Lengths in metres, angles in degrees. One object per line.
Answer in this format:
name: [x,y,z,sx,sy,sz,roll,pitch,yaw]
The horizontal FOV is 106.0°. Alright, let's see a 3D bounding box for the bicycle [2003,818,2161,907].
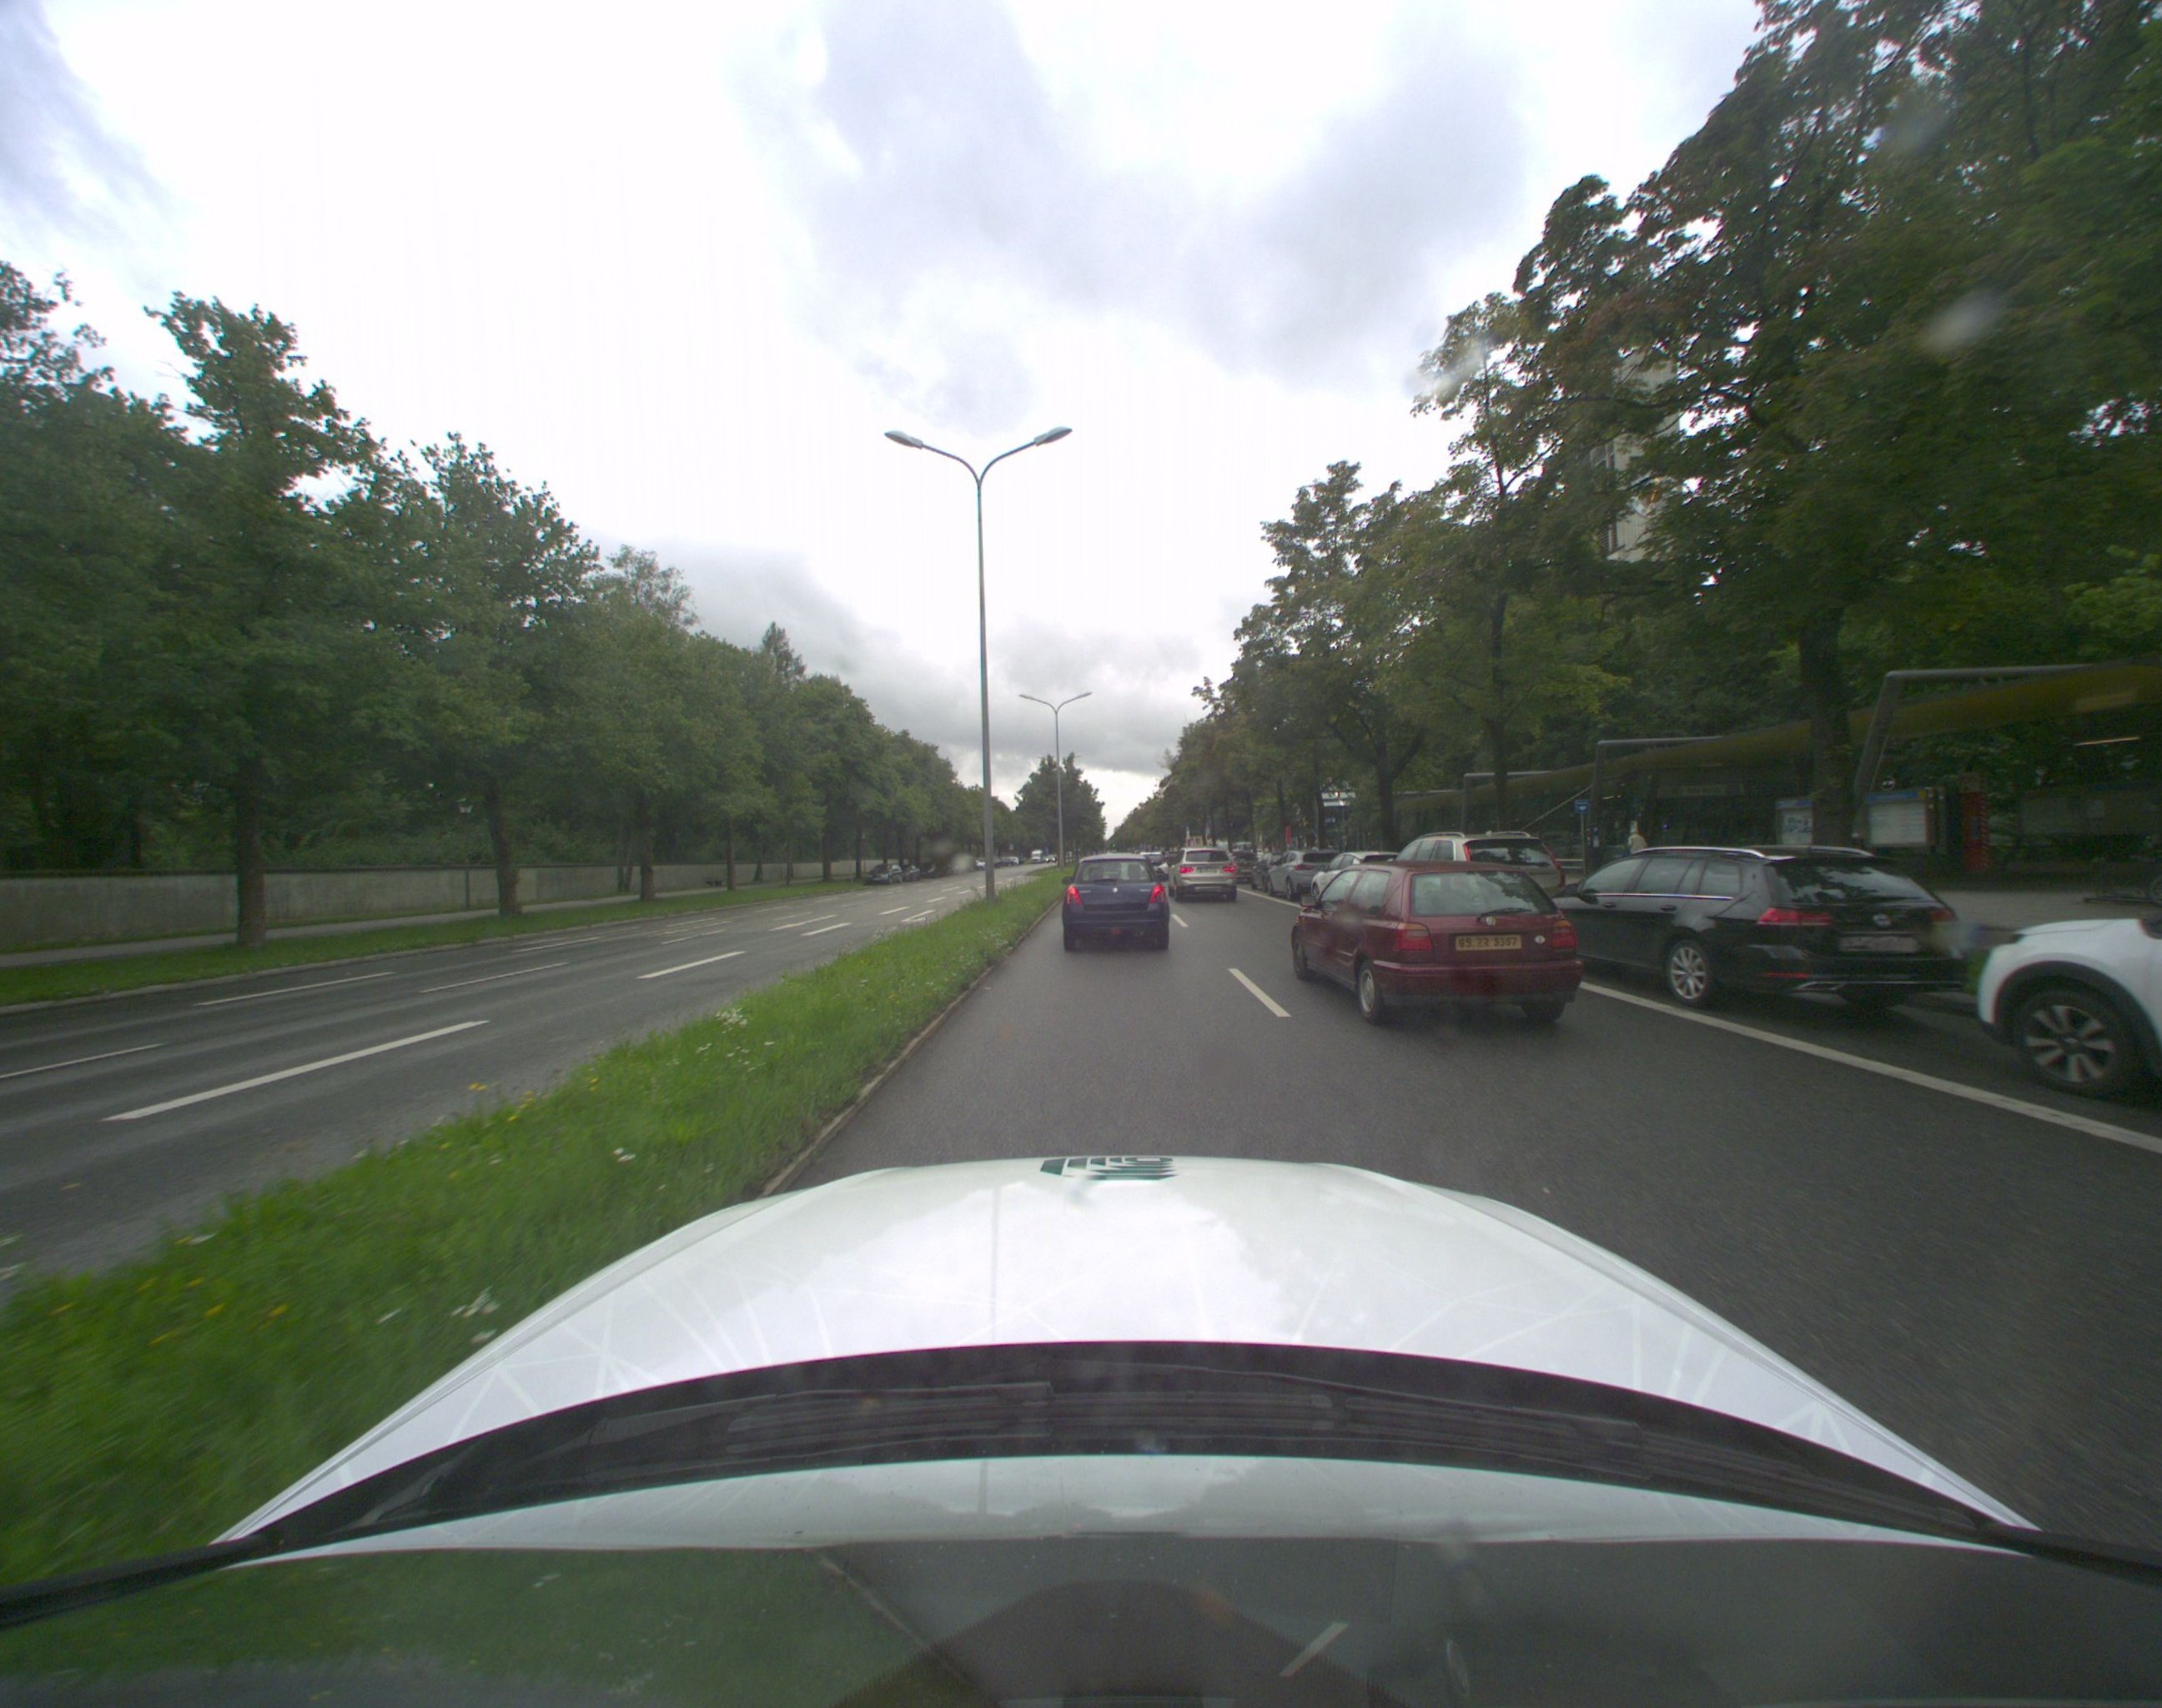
bicycle: [15.465,0.116,12.327,2.330,1.157,0.529,-4,0,1]

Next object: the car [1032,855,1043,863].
car: [-8.882,1.071,165.541,1.907,1.542,4.187,-2,0,0]

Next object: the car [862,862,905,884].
car: [-14.459,1.352,59.813,1.792,1.490,4.917,-1,0,2]

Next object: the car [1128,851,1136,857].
car: [12.493,0.064,199.083,1.844,1.447,4.097,-2,0,0]

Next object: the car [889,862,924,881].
car: [-14.049,1.380,65.854,1.653,1.396,4.709,-1,0,2]

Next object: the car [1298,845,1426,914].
car: [6.943,0.566,20.645,1.696,1.508,4.504,-2,0,1]

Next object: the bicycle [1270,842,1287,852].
bicycle: [32.967,-1.148,136.225,2.605,1.508,0.797,-2,0,-5]

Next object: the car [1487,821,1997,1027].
car: [6.347,0.526,8.716,1.741,1.547,4.643,-2,1,1]

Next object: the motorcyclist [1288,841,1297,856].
motorcyclist: [24.863,-0.629,95.823,0.688,1.737,0.954,-7,0,2]

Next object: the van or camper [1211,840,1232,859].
van or camper: [20.153,-0.624,116.965,2.016,2.558,5.960,-2,0,2]

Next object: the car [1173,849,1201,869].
car: [8.069,0.390,62.286,1.647,1.434,4.484,-2,0,1]

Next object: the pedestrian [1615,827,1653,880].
pedestrian: [16.376,-0.016,24.109,0.580,1.513,0.690,-2,0,-17]

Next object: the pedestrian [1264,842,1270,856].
pedestrian: [23.466,-0.579,102.807,0.572,1.751,0.733,-2,0,6]

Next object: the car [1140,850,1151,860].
car: [10.507,0.183,133.426,1.677,1.525,4.459,-1,0,3]

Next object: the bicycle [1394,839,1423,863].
bicycle: [18.357,-0.142,45.686,0.642,1.280,2.551,-2,0,2]

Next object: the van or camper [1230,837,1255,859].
van or camper: [19.866,-0.675,100.266,1.986,2.558,5.960,-2,0,2]

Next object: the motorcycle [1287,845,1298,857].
motorcycle: [24.893,-0.387,95.778,0.693,1.290,2.067,-7,0,2]

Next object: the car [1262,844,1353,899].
car: [6.935,0.486,25.349,1.714,1.534,4.401,-1,0,2]

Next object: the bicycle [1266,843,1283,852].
bicycle: [33.304,-1.162,140.235,2.605,1.508,0.797,-2,0,-5]

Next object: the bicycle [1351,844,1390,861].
bicycle: [20.348,-0.099,57.255,2.533,1.089,0.647,-2,0,1]

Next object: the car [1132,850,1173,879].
car: [3.854,0.536,44.492,1.844,1.447,4.097,-2,0,0]

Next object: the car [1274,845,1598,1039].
car: [3.215,0.679,8.291,1.616,1.454,3.951,-2,0,1]

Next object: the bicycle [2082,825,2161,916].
bicycle: [15.429,0.169,11.304,2.330,1.157,0.529,-4,0,1]

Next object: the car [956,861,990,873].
car: [-14.139,1.673,106.949,4.059,1.381,1.657,-2,0,-34]

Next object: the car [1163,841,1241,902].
car: [3.738,0.509,25.916,1.844,1.743,4.097,-2,0,0]

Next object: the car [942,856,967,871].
car: [-13.405,0.995,86.572,1.629,1.439,4.812,-1,0,3]

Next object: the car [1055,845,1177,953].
car: [0.537,0.673,14.246,1.783,1.555,4.000,-2,0,0]

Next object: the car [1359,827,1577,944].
car: [6.672,0.451,14.739,1.740,1.724,4.909,-1,0,2]

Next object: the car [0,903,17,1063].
car: [-10.820,1.263,5.208,1.737,1.452,4.659,-4,0,2]

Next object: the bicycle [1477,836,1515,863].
bicycle: [20.519,-0.222,40.339,0.642,1.280,2.551,-2,0,2]

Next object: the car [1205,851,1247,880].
car: [7.699,0.587,43.522,1.628,1.453,4.080,-2,0,2]

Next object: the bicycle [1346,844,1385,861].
bicycle: [20.378,-0.103,58.326,2.533,1.089,0.647,-2,0,1]

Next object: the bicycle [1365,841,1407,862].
bicycle: [20.091,-0.187,53.675,2.533,1.280,0.647,-2,0,1]

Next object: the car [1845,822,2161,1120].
car: [6.476,0.587,3.804,1.707,1.547,4.382,-2,0,1]

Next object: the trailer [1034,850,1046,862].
trailer: [-8.753,0.399,174.952,2.098,2.540,5.579,-2,0,2]

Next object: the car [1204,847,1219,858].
car: [20.581,-0.178,128.441,1.679,1.632,4.498,-2,0,0]

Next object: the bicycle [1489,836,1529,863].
bicycle: [21.272,-0.234,40.523,0.642,1.280,2.551,-2,0,2]

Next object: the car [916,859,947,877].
car: [-13.590,1.225,74.275,1.563,1.503,4.310,-1,0,6]

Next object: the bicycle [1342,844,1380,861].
bicycle: [20.443,-0.110,59.544,2.533,1.089,0.647,-2,0,1]

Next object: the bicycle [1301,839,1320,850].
bicycle: [32.505,-1.342,115.495,2.619,1.508,0.793,-2,0,-20]

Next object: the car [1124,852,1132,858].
car: [12.378,0.178,212.940,1.844,1.447,4.097,-2,0,0]

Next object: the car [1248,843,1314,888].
car: [7.392,0.397,30.476,1.536,1.534,4.092,2,0,2]

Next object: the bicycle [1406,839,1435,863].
bicycle: [19.032,-0.152,45.696,0.642,1.280,2.551,-2,0,2]

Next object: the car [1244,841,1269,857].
car: [19.748,-0.572,91.880,1.986,1.651,4.002,-2,0,2]

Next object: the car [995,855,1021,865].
car: [-13.252,1.110,147.931,4.122,1.585,1.900,-2,0,-32]

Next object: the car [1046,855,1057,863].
car: [-5.787,0.998,159.009,1.907,1.542,4.187,-2,0,0]

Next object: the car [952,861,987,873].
car: [-14.197,1.603,104.028,4.015,1.354,1.831,-2,0,-33]

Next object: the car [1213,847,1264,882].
car: [7.476,0.477,38.946,1.711,1.508,4.225,-2,0,2]

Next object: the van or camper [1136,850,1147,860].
van or camper: [11.987,0.172,161.109,1.937,1.975,4.309,-2,0,3]

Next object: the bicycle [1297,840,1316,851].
bicycle: [32.819,-1.193,118.564,2.612,1.508,0.795,-2,0,-12]

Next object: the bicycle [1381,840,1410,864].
bicycle: [17.642,-0.115,45.727,0.642,1.280,2.551,-2,0,2]

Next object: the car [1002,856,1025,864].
car: [-12.992,1.200,156.907,4.122,1.474,1.688,-1,-1,-32]
